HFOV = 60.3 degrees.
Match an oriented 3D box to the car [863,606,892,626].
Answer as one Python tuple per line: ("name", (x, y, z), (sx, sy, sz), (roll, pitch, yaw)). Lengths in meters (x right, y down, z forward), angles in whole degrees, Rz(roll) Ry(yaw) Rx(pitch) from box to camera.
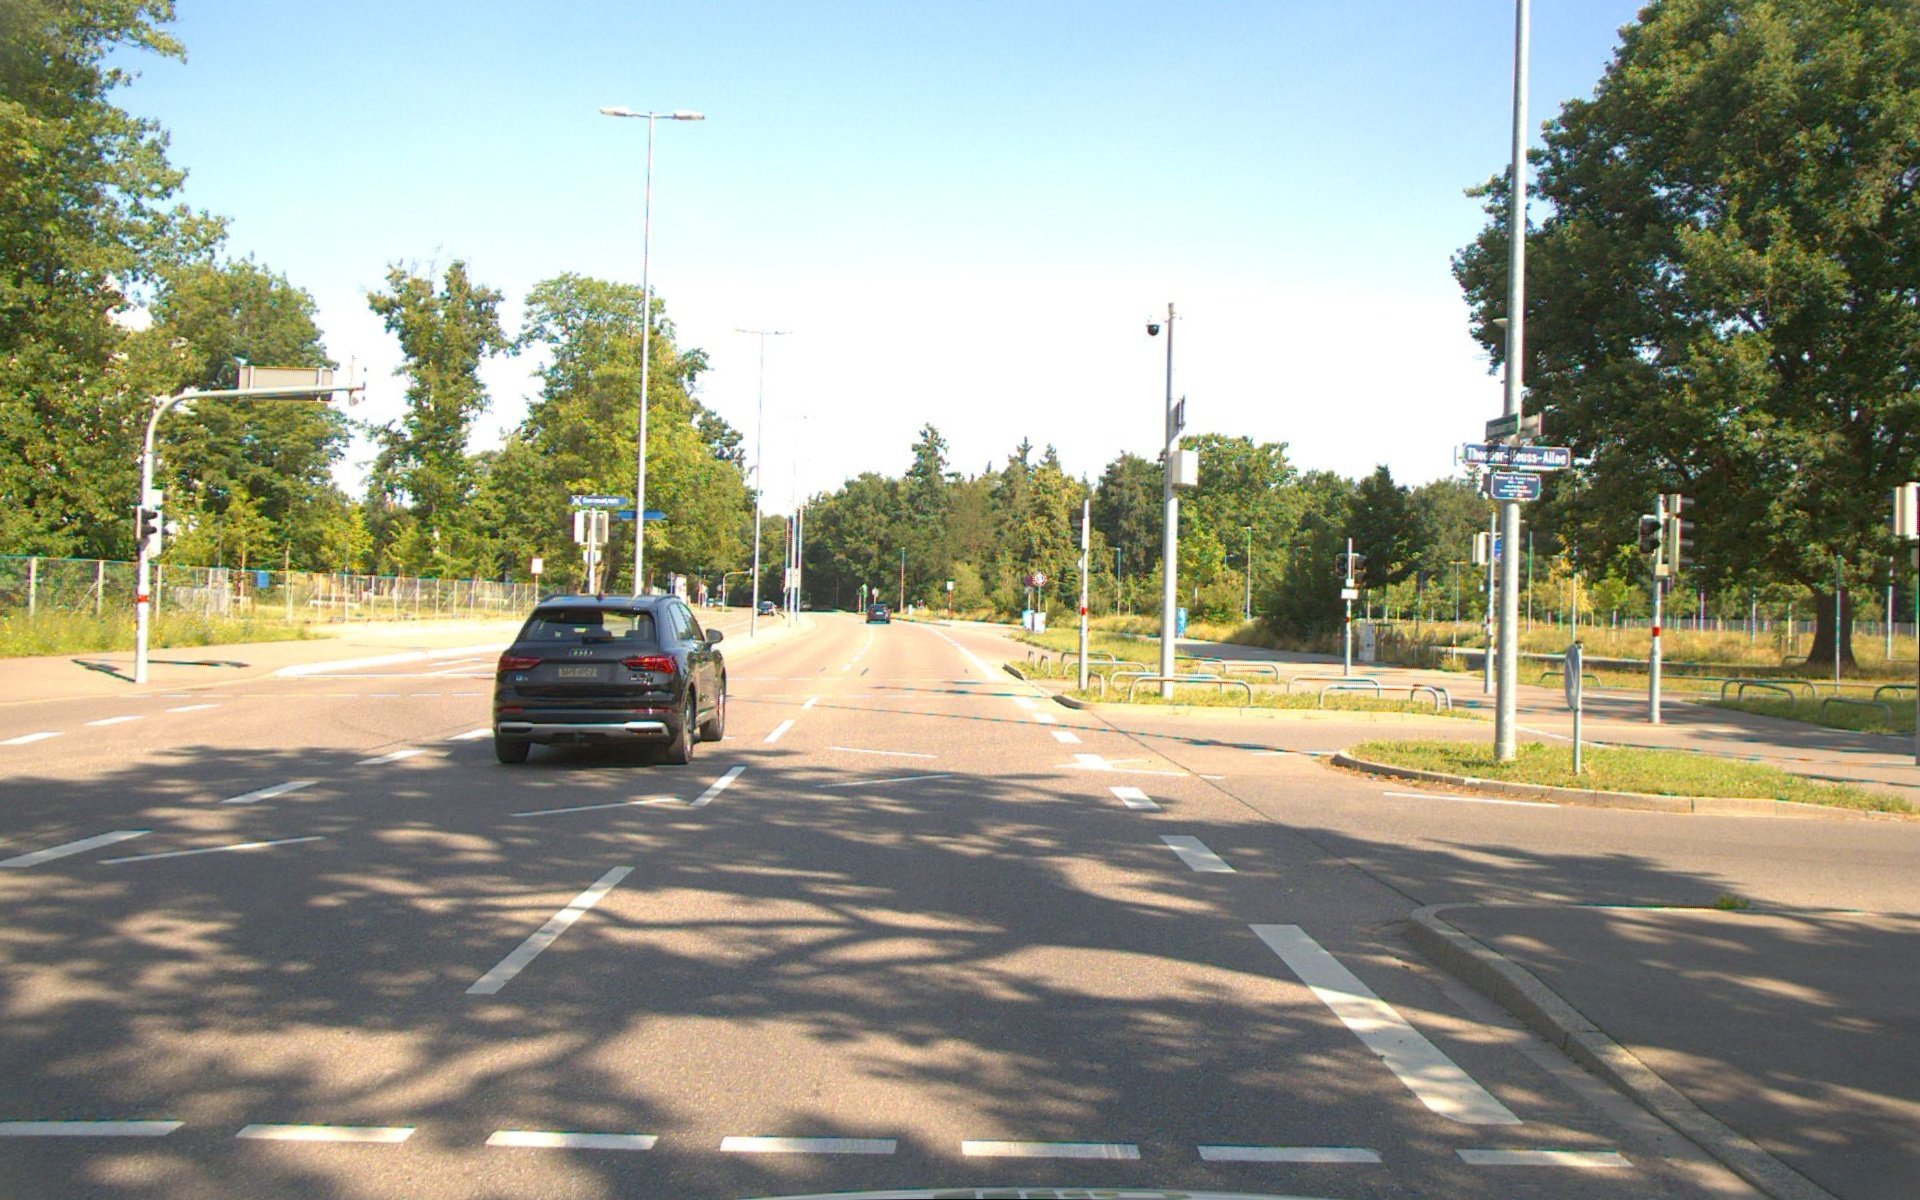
("car", (-6.289, 1.184, 126.012), (1.903, 1.445, 4.287), (1, 0, -6))

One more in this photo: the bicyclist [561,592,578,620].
("bicyclist", (-21.184, 0.334, 89.649), (0.646, 1.493, 1.056), (3, 0, -4))

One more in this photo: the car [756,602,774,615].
("car", (-21.190, 0.947, 179.778), (1.778, 1.412, 4.152), (-1, 0, -10))

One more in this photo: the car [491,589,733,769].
("car", (-3.331, 0.693, 16.548), (1.654, 1.571, 4.147), (0, 0, -2))

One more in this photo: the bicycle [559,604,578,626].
("bicycle", (-21.218, 0.798, 89.617), (0.646, 1.155, 1.877), (3, 0, -4))
